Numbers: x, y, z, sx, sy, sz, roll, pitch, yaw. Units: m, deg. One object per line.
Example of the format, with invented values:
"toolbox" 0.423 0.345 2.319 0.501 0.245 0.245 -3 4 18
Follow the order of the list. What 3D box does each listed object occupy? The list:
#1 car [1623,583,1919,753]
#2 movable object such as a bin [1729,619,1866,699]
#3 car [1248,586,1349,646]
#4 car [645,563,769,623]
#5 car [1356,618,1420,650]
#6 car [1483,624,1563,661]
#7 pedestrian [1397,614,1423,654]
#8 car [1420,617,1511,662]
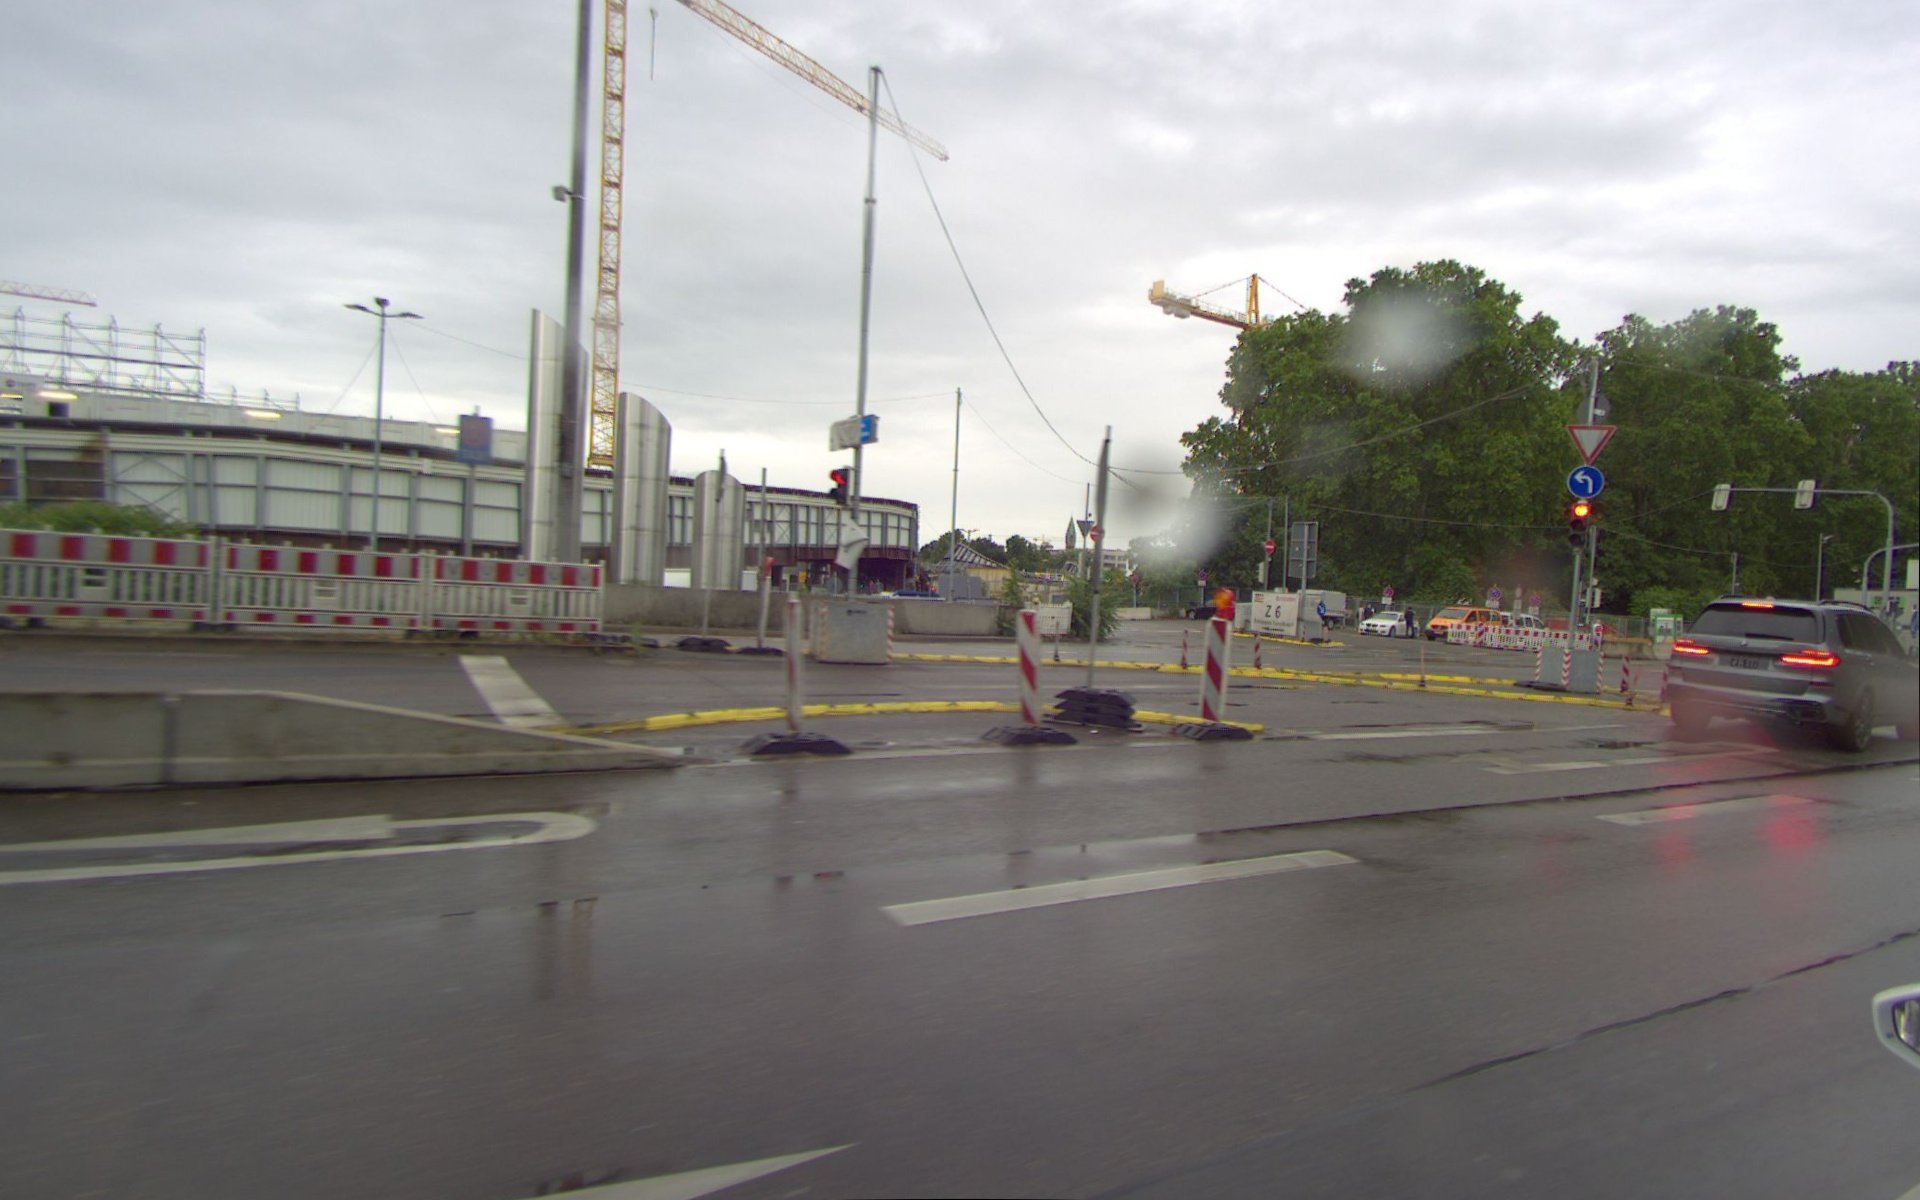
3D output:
"car" 11.655 0.947 14.062 5.025 1.887 2.194 5 1 -35
"movable object such as a bin" 58.544 4.139 70.201 8.266 4.866 4.726 5 -1 -31
"car" 20.402 1.001 60.395 6.103 3.106 2.261 5 -1 -32
"car" -9.741 -0.211 39.147 1.962 2.040 5.024 4 0 23
"car" 23.481 1.876 55.012 3.807 1.433 1.741 5 -1 -43
"car" 32.383 2.452 57.766 4.745 1.784 1.835 5 -1 -31
"pedestrian" 24.152 1.833 53.890 0.732 2.040 0.913 4 0 -36
"car" 27.484 2.160 54.534 5.527 2.128 1.981 5 -2 -34
